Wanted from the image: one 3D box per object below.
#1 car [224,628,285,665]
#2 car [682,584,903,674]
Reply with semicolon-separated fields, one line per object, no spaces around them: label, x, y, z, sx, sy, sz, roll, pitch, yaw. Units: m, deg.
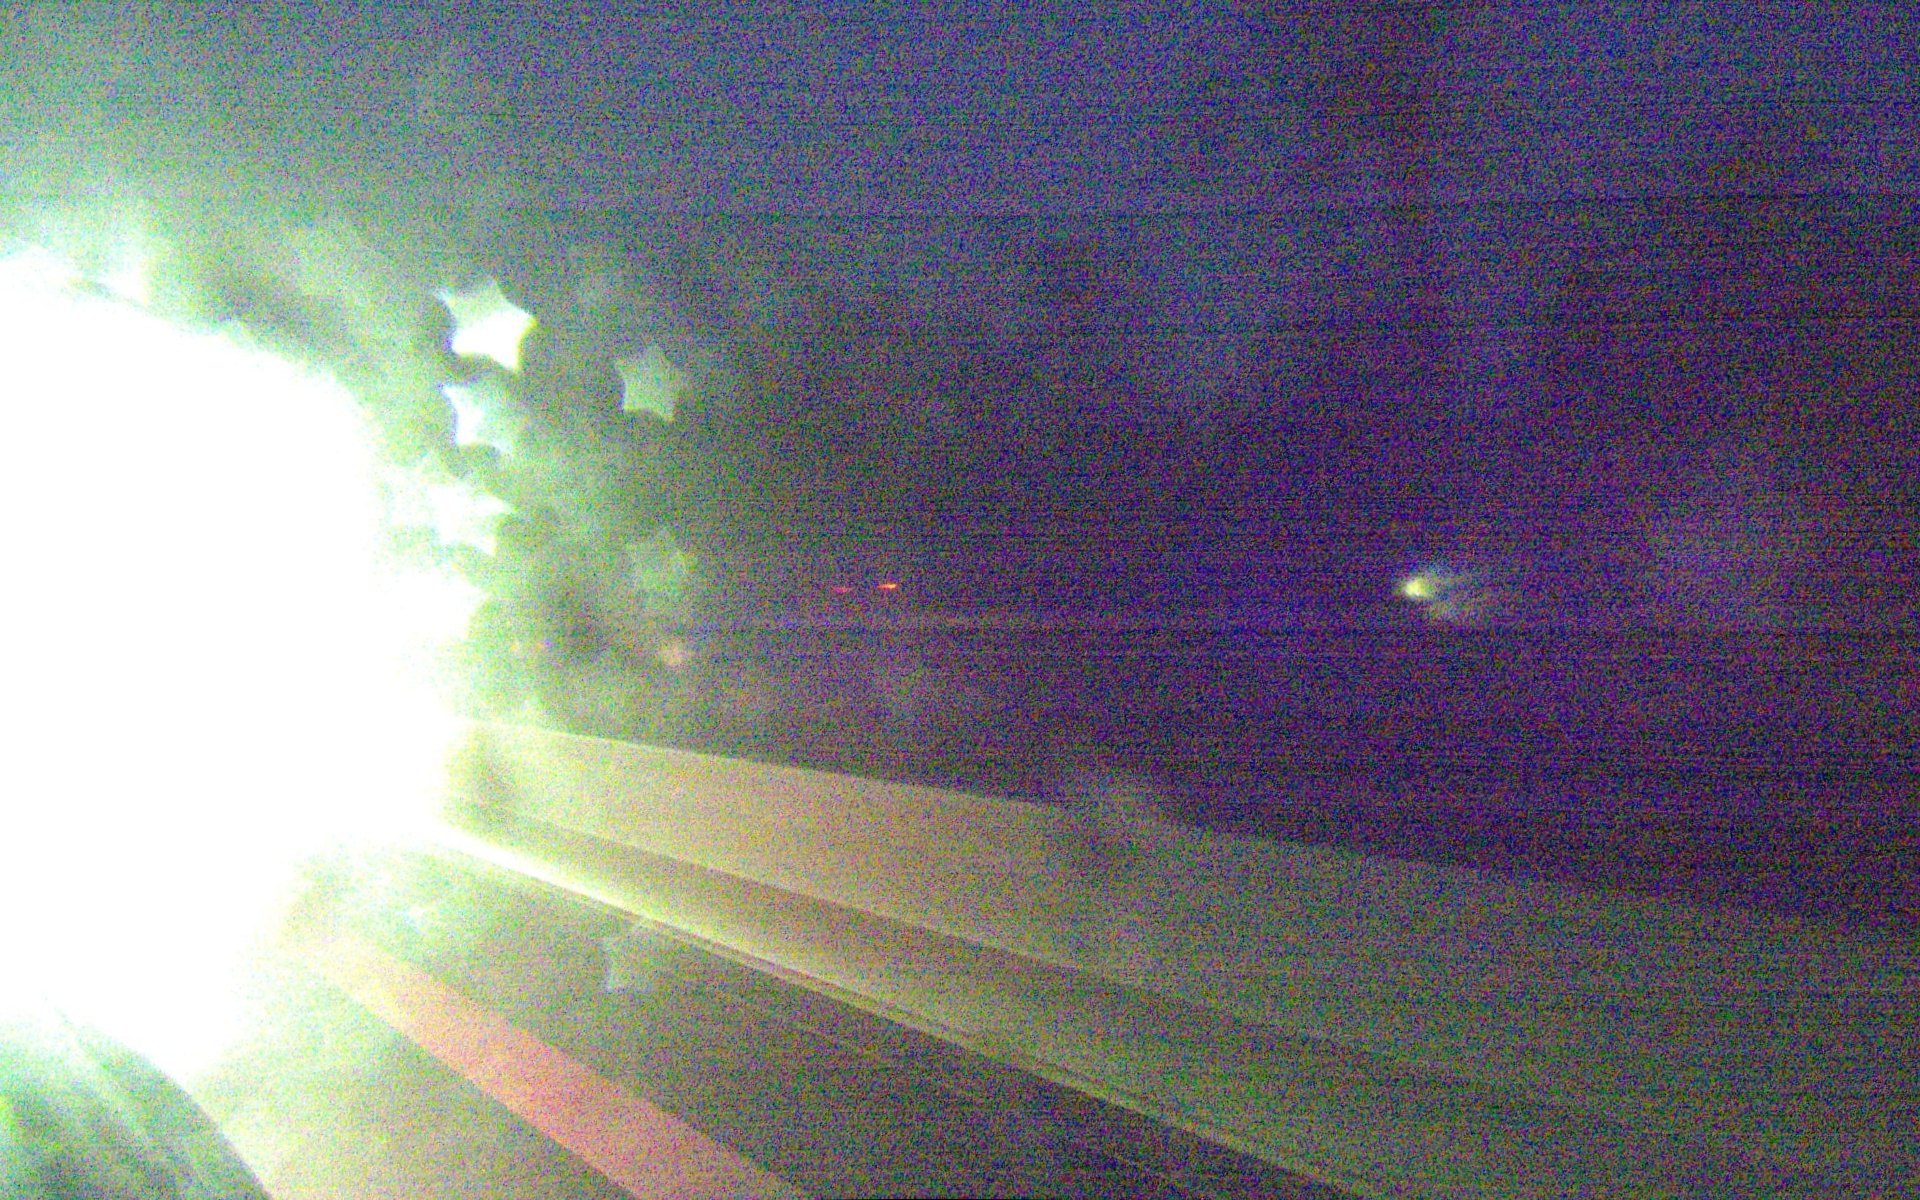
car;-37.388;2.431;53.583;1.971;1.748;4.003;-4;1;-44
car;-3.261;0.530;19.344;3.998;1.538;2.102;-2;0;41
